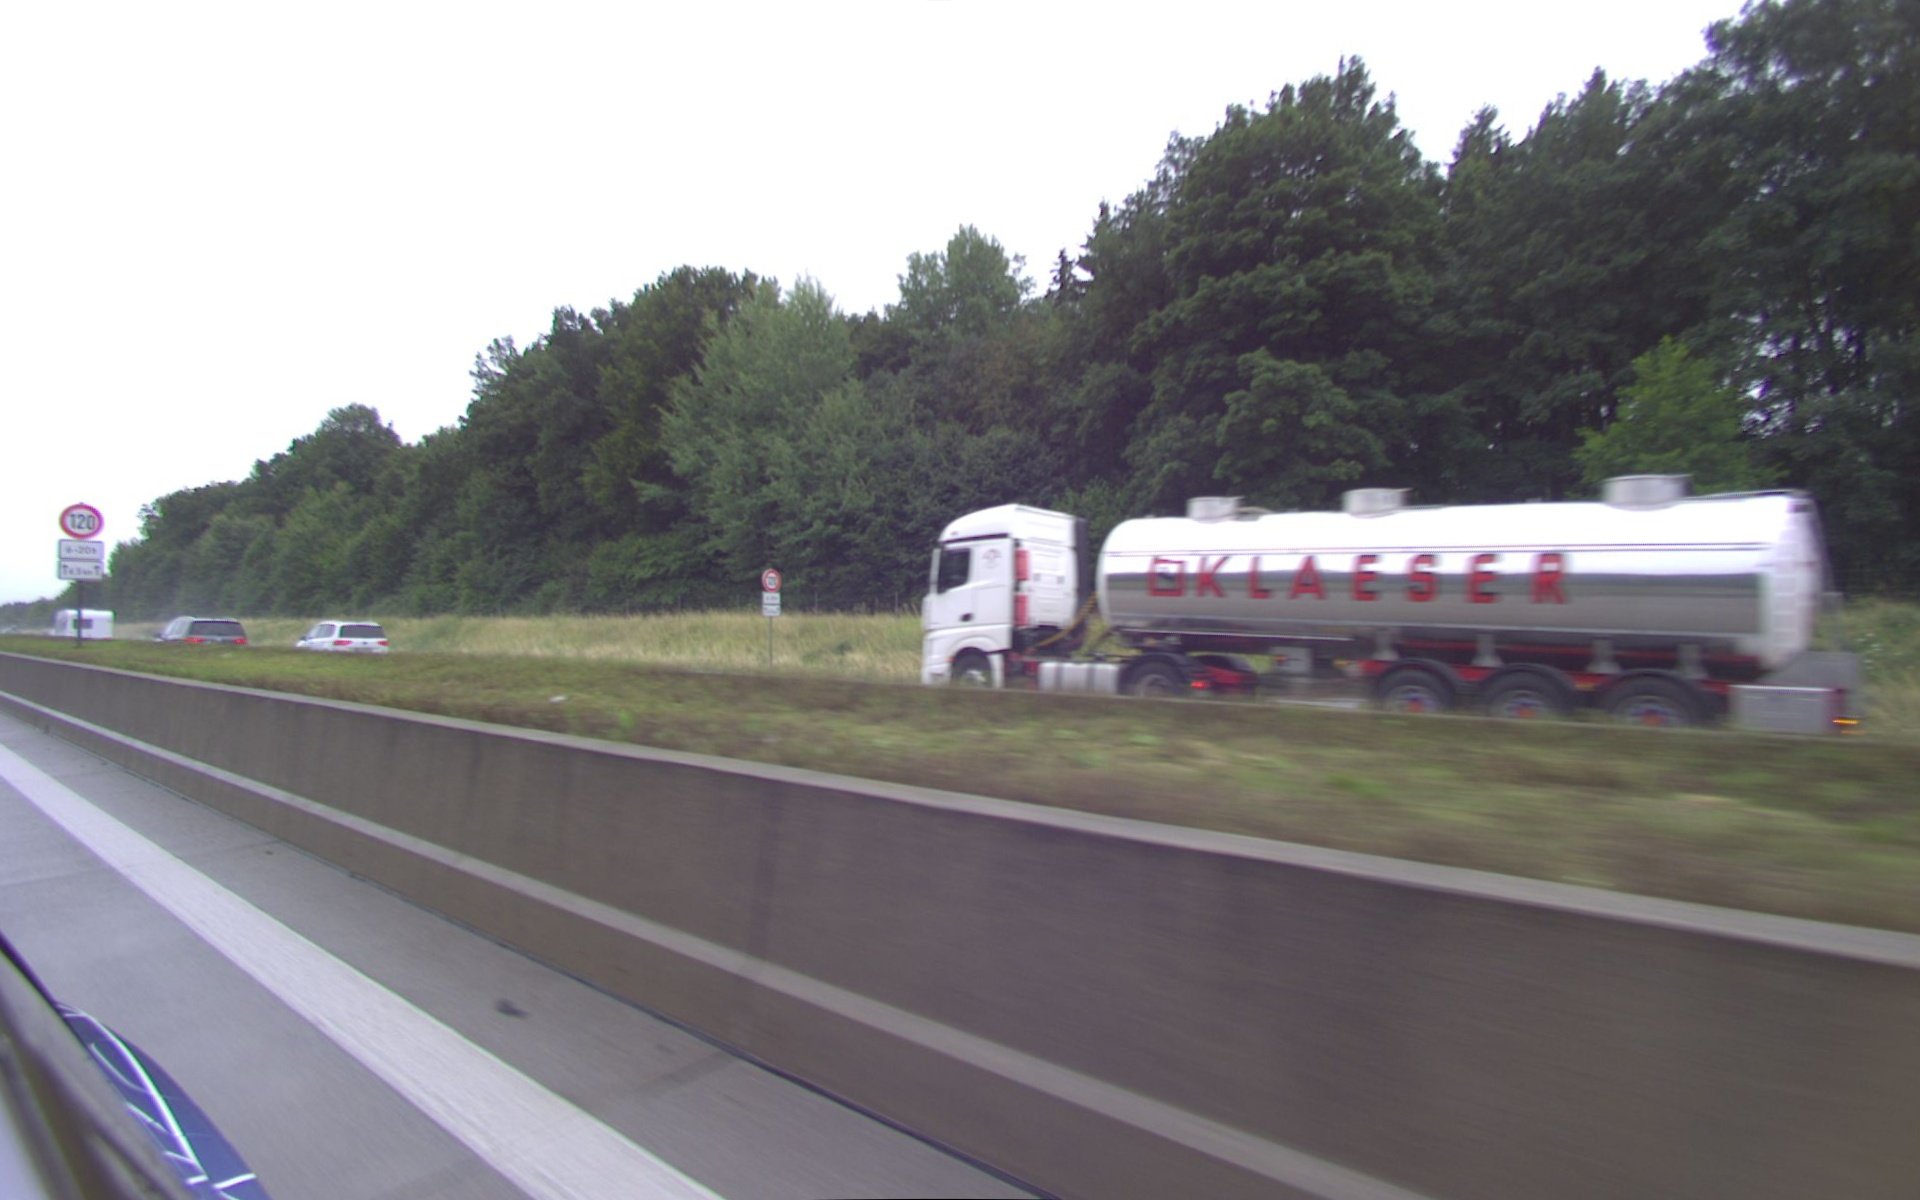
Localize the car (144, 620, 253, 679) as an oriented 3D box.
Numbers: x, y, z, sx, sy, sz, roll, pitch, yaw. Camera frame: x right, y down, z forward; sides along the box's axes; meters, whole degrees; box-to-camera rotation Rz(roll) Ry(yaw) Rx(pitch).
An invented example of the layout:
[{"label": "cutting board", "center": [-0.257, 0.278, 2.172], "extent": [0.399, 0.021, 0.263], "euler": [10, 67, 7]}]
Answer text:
[{"label": "car", "center": [-23.606, 1.494, 31.315], "extent": [4.557, 1.700, 1.765], "euler": [-2, -2, 41]}]

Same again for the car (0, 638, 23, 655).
[{"label": "car", "center": [-109.426, 5.347, 116.323], "extent": [4.849, 1.816, 2.039], "euler": [-2, -2, 41]}]

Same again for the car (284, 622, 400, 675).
[{"label": "car", "center": [-20.617, 1.562, 33.683], "extent": [4.557, 1.639, 1.973], "euler": [-1, -2, 41]}]

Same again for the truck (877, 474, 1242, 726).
[{"label": "truck", "center": [1.647, 0.070, 18.807], "extent": [6.432, 3.905, 2.637], "euler": [-1, -2, 41]}]

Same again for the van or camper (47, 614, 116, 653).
[{"label": "van or camper", "center": [-56.429, 2.122, 64.935], "extent": [5.915, 2.447, 2.475], "euler": [-1, -2, 41]}]

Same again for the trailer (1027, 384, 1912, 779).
[{"label": "trailer", "center": [6.215, -0.062, 14.892], "extent": [11.129, 4.002, 2.637], "euler": [-2, -2, 41]}]
